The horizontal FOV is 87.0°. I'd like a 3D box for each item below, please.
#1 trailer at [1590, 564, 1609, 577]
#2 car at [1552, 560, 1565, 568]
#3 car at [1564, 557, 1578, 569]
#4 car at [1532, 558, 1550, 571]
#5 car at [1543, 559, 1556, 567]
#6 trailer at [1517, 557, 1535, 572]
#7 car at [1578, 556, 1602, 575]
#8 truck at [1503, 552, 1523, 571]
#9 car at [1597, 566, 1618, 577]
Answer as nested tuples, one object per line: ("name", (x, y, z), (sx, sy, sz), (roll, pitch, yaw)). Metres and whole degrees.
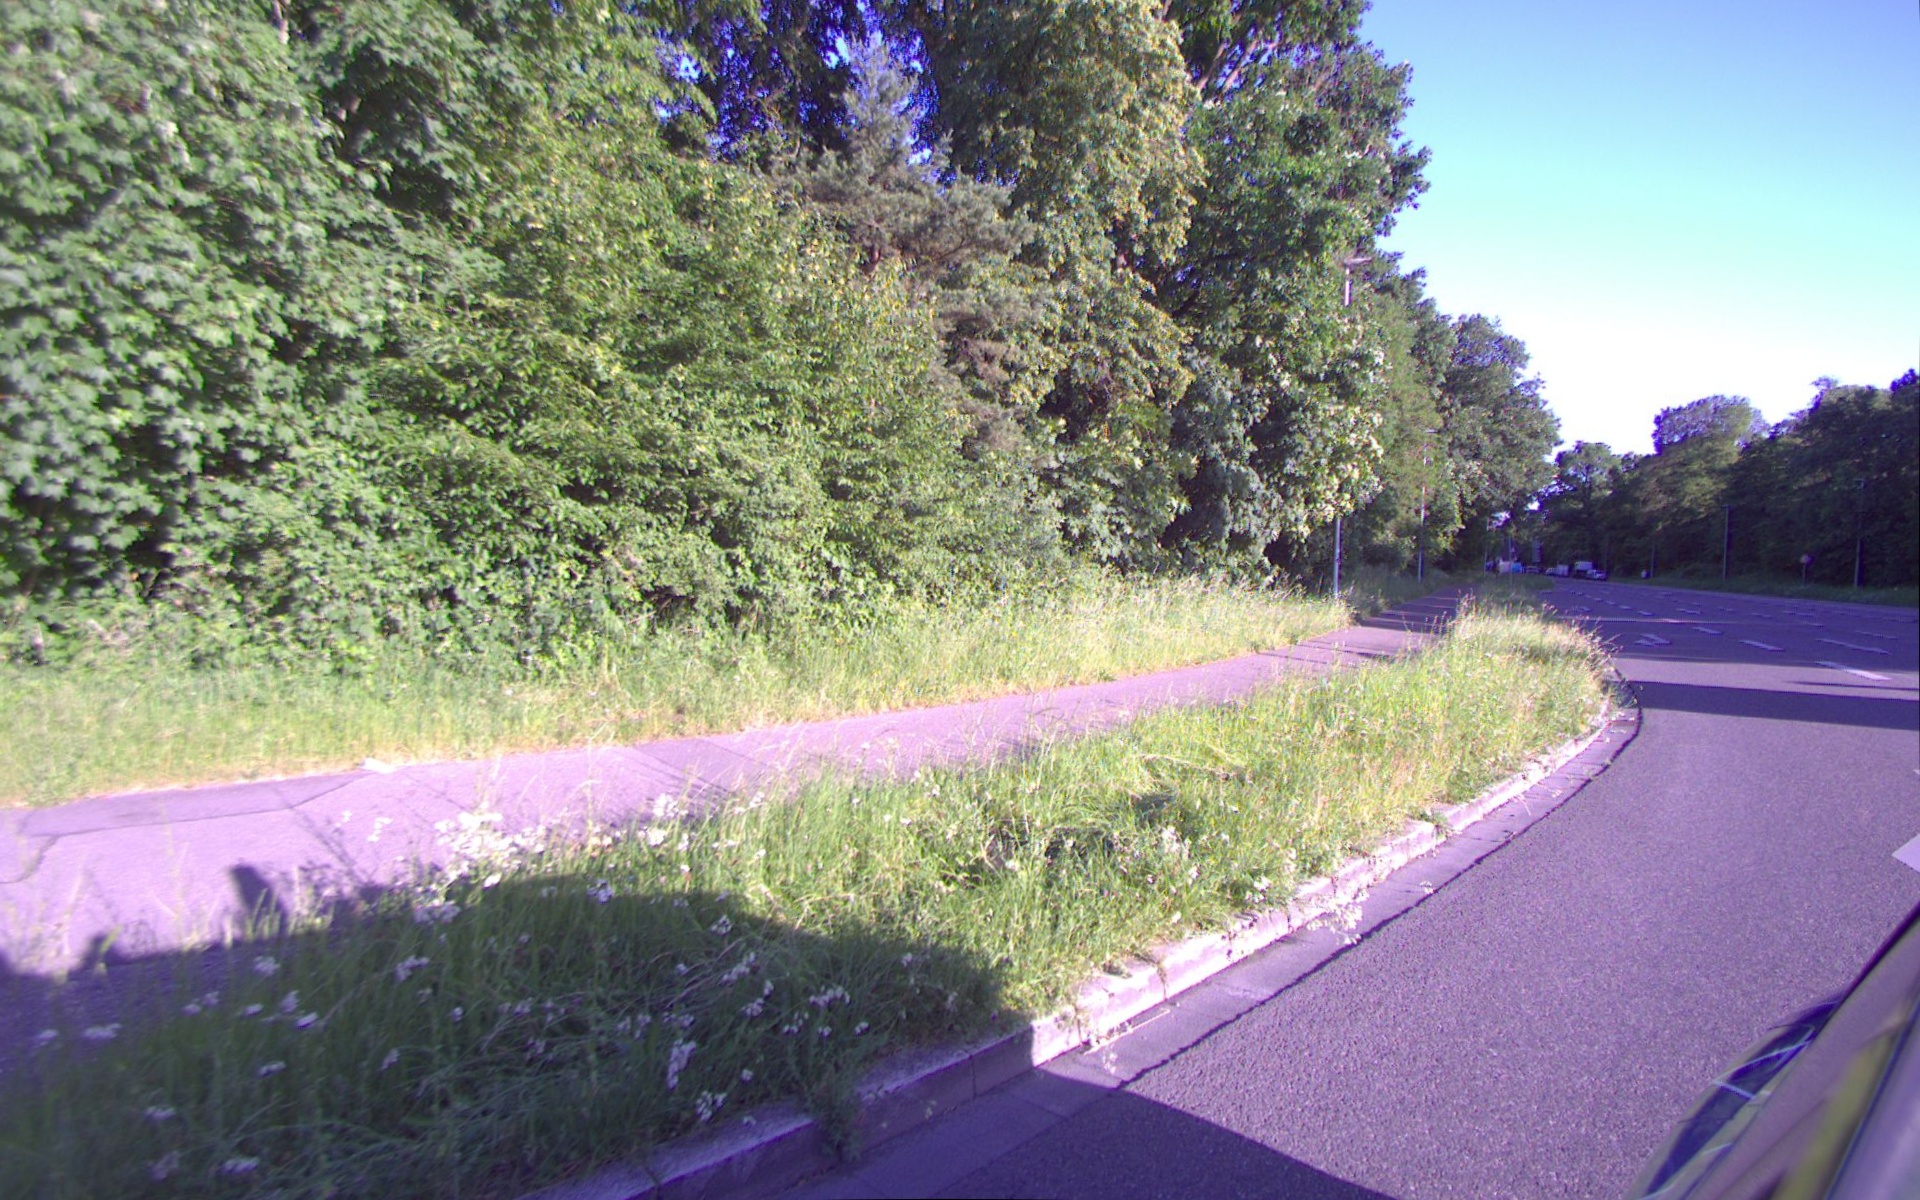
("trailer", (93.747, -4.373, 148.438), (1.789, 1.750, 3.618), (4, 4, 25))
("car", (117.775, -7.075, 199.221), (1.789, 1.523, 3.881), (4, 4, 24))
("car", (113.151, -6.929, 187.476), (1.675, 2.126, 4.595), (4, 4, 24))
("car", (92.284, -5.603, 160.830), (1.978, 2.038, 3.971), (2, 3, 23))
("car", (124.321, -7.776, 213.514), (1.789, 1.523, 3.881), (4, 4, 24))
("trailer", (80.677, -5.082, 144.306), (1.851, 2.204, 4.096), (1, 3, 25))
("car", (99.040, -5.488, 159.201), (2.437, 2.881, 4.760), (4, 4, 25))
("truck", (87.747, -6.179, 160.535), (2.366, 2.907, 5.554), (0, 2, 25))
("car", (91.988, -4.066, 143.784), (1.896, 1.481, 3.980), (4, 4, 25))
